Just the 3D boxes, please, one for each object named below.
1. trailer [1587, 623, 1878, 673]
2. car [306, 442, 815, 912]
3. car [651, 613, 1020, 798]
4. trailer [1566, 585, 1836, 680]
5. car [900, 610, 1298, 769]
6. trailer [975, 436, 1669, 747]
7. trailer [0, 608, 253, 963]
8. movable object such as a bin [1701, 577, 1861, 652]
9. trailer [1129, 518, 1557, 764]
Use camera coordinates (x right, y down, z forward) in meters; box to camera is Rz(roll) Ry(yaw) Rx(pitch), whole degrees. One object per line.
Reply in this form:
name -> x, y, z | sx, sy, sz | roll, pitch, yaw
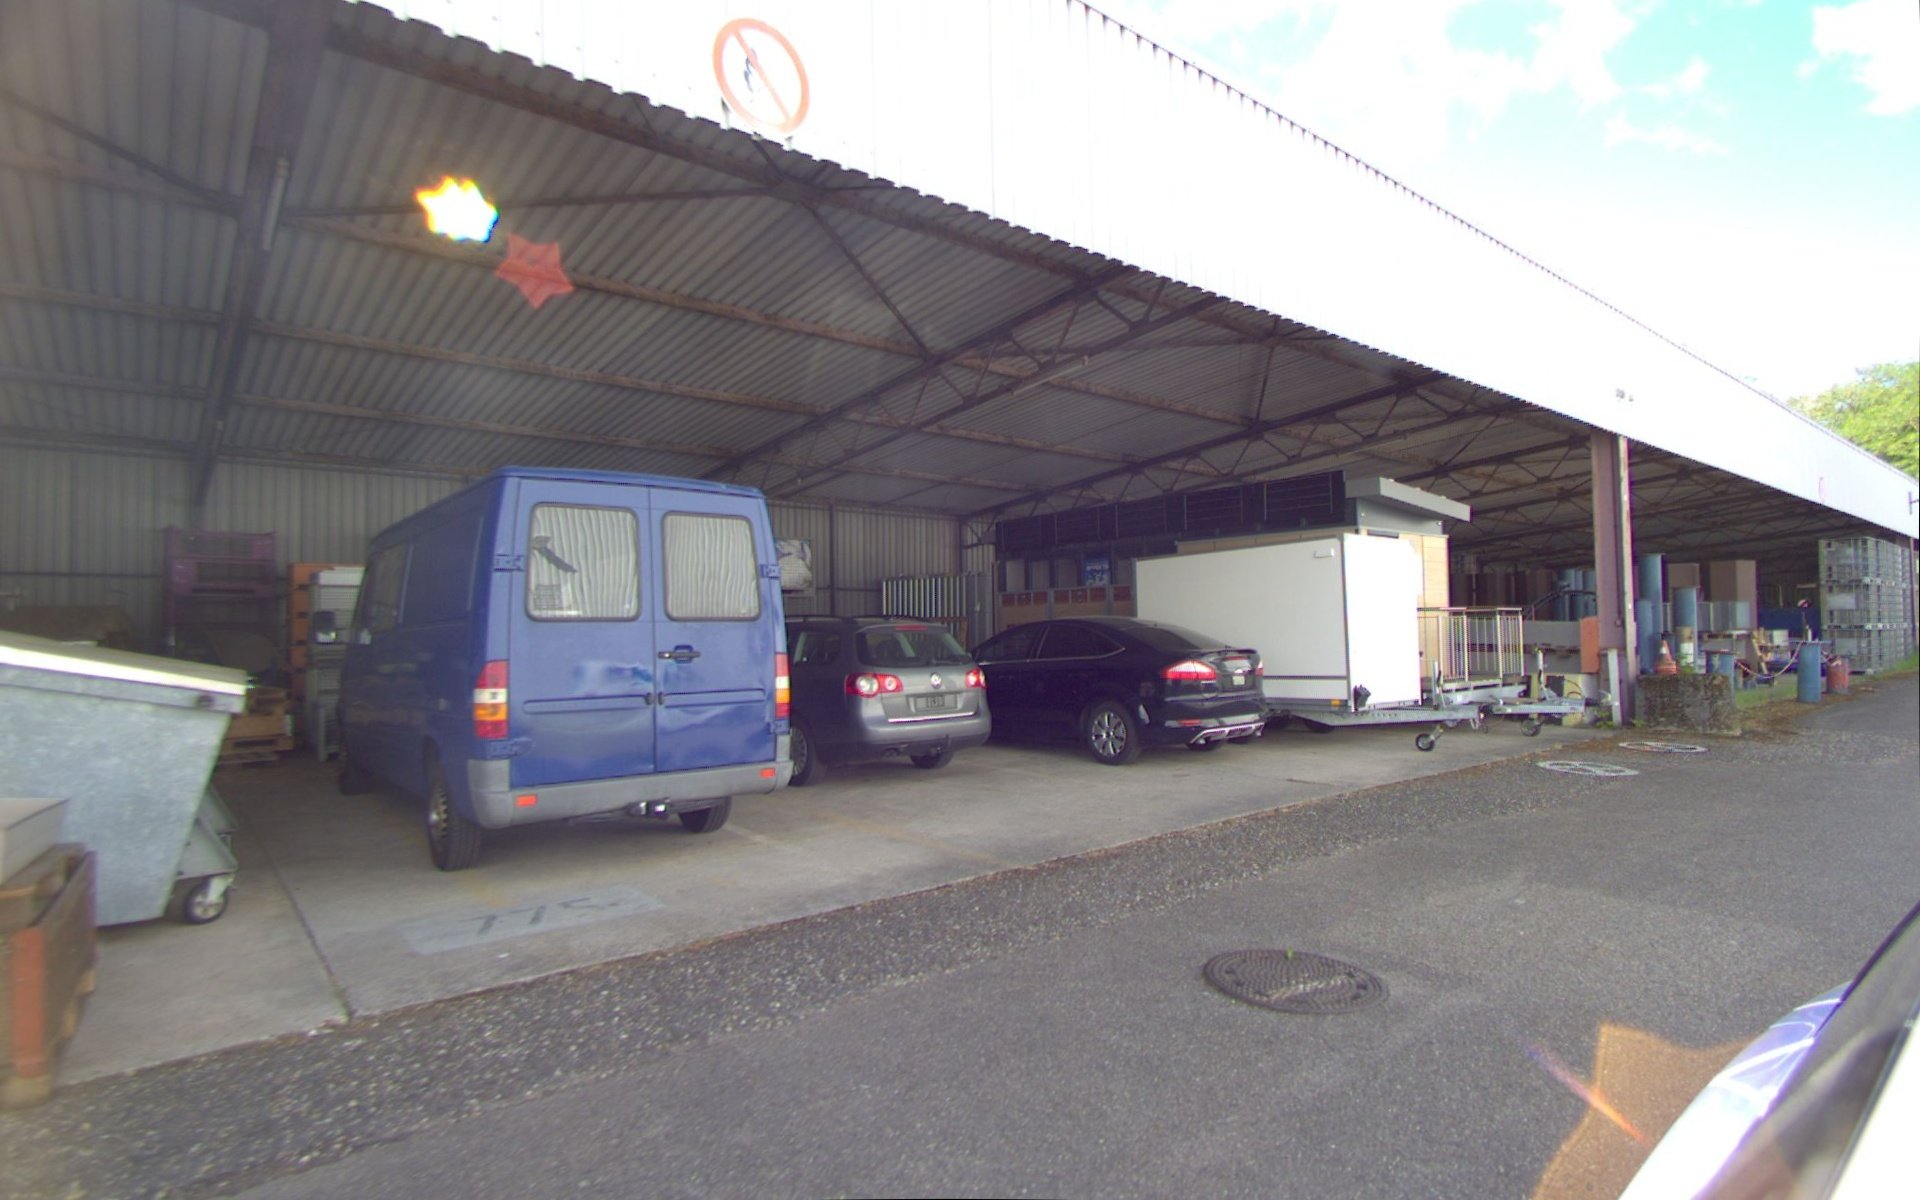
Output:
trailer -> 19.948, 1.213, 26.428 | 1.973, 1.148, 5.742 | 1, -2, -41
car -> -3.375, 0.441, 7.690 | 2.047, 2.327, 5.224 | 0, -2, -40
car -> -1.453, 0.871, 10.297 | 1.817, 1.472, 4.115 | 0, -1, -40
trailer -> 17.545, 0.728, 24.208 | 2.009, 2.022, 4.830 | 0, -1, -37
car -> 1.396, 0.853, 11.554 | 1.833, 1.452, 4.348 | 0, -1, -42
trailer -> 4.509, -0.039, 15.715 | 2.627, 3.337, 10.315 | 1, -1, -39
trailer -> -4.613, 0.809, 5.153 | 1.611, 1.481, 2.099 | 0, -1, -37
movable object such as a bin -> 32.250, 0.581, 39.849 | 1.965, 2.757, 4.621 | 3, -2, -41
trailer -> 4.290, 0.420, 12.051 | 1.658, 2.365, 4.551 | 1, -1, -39
